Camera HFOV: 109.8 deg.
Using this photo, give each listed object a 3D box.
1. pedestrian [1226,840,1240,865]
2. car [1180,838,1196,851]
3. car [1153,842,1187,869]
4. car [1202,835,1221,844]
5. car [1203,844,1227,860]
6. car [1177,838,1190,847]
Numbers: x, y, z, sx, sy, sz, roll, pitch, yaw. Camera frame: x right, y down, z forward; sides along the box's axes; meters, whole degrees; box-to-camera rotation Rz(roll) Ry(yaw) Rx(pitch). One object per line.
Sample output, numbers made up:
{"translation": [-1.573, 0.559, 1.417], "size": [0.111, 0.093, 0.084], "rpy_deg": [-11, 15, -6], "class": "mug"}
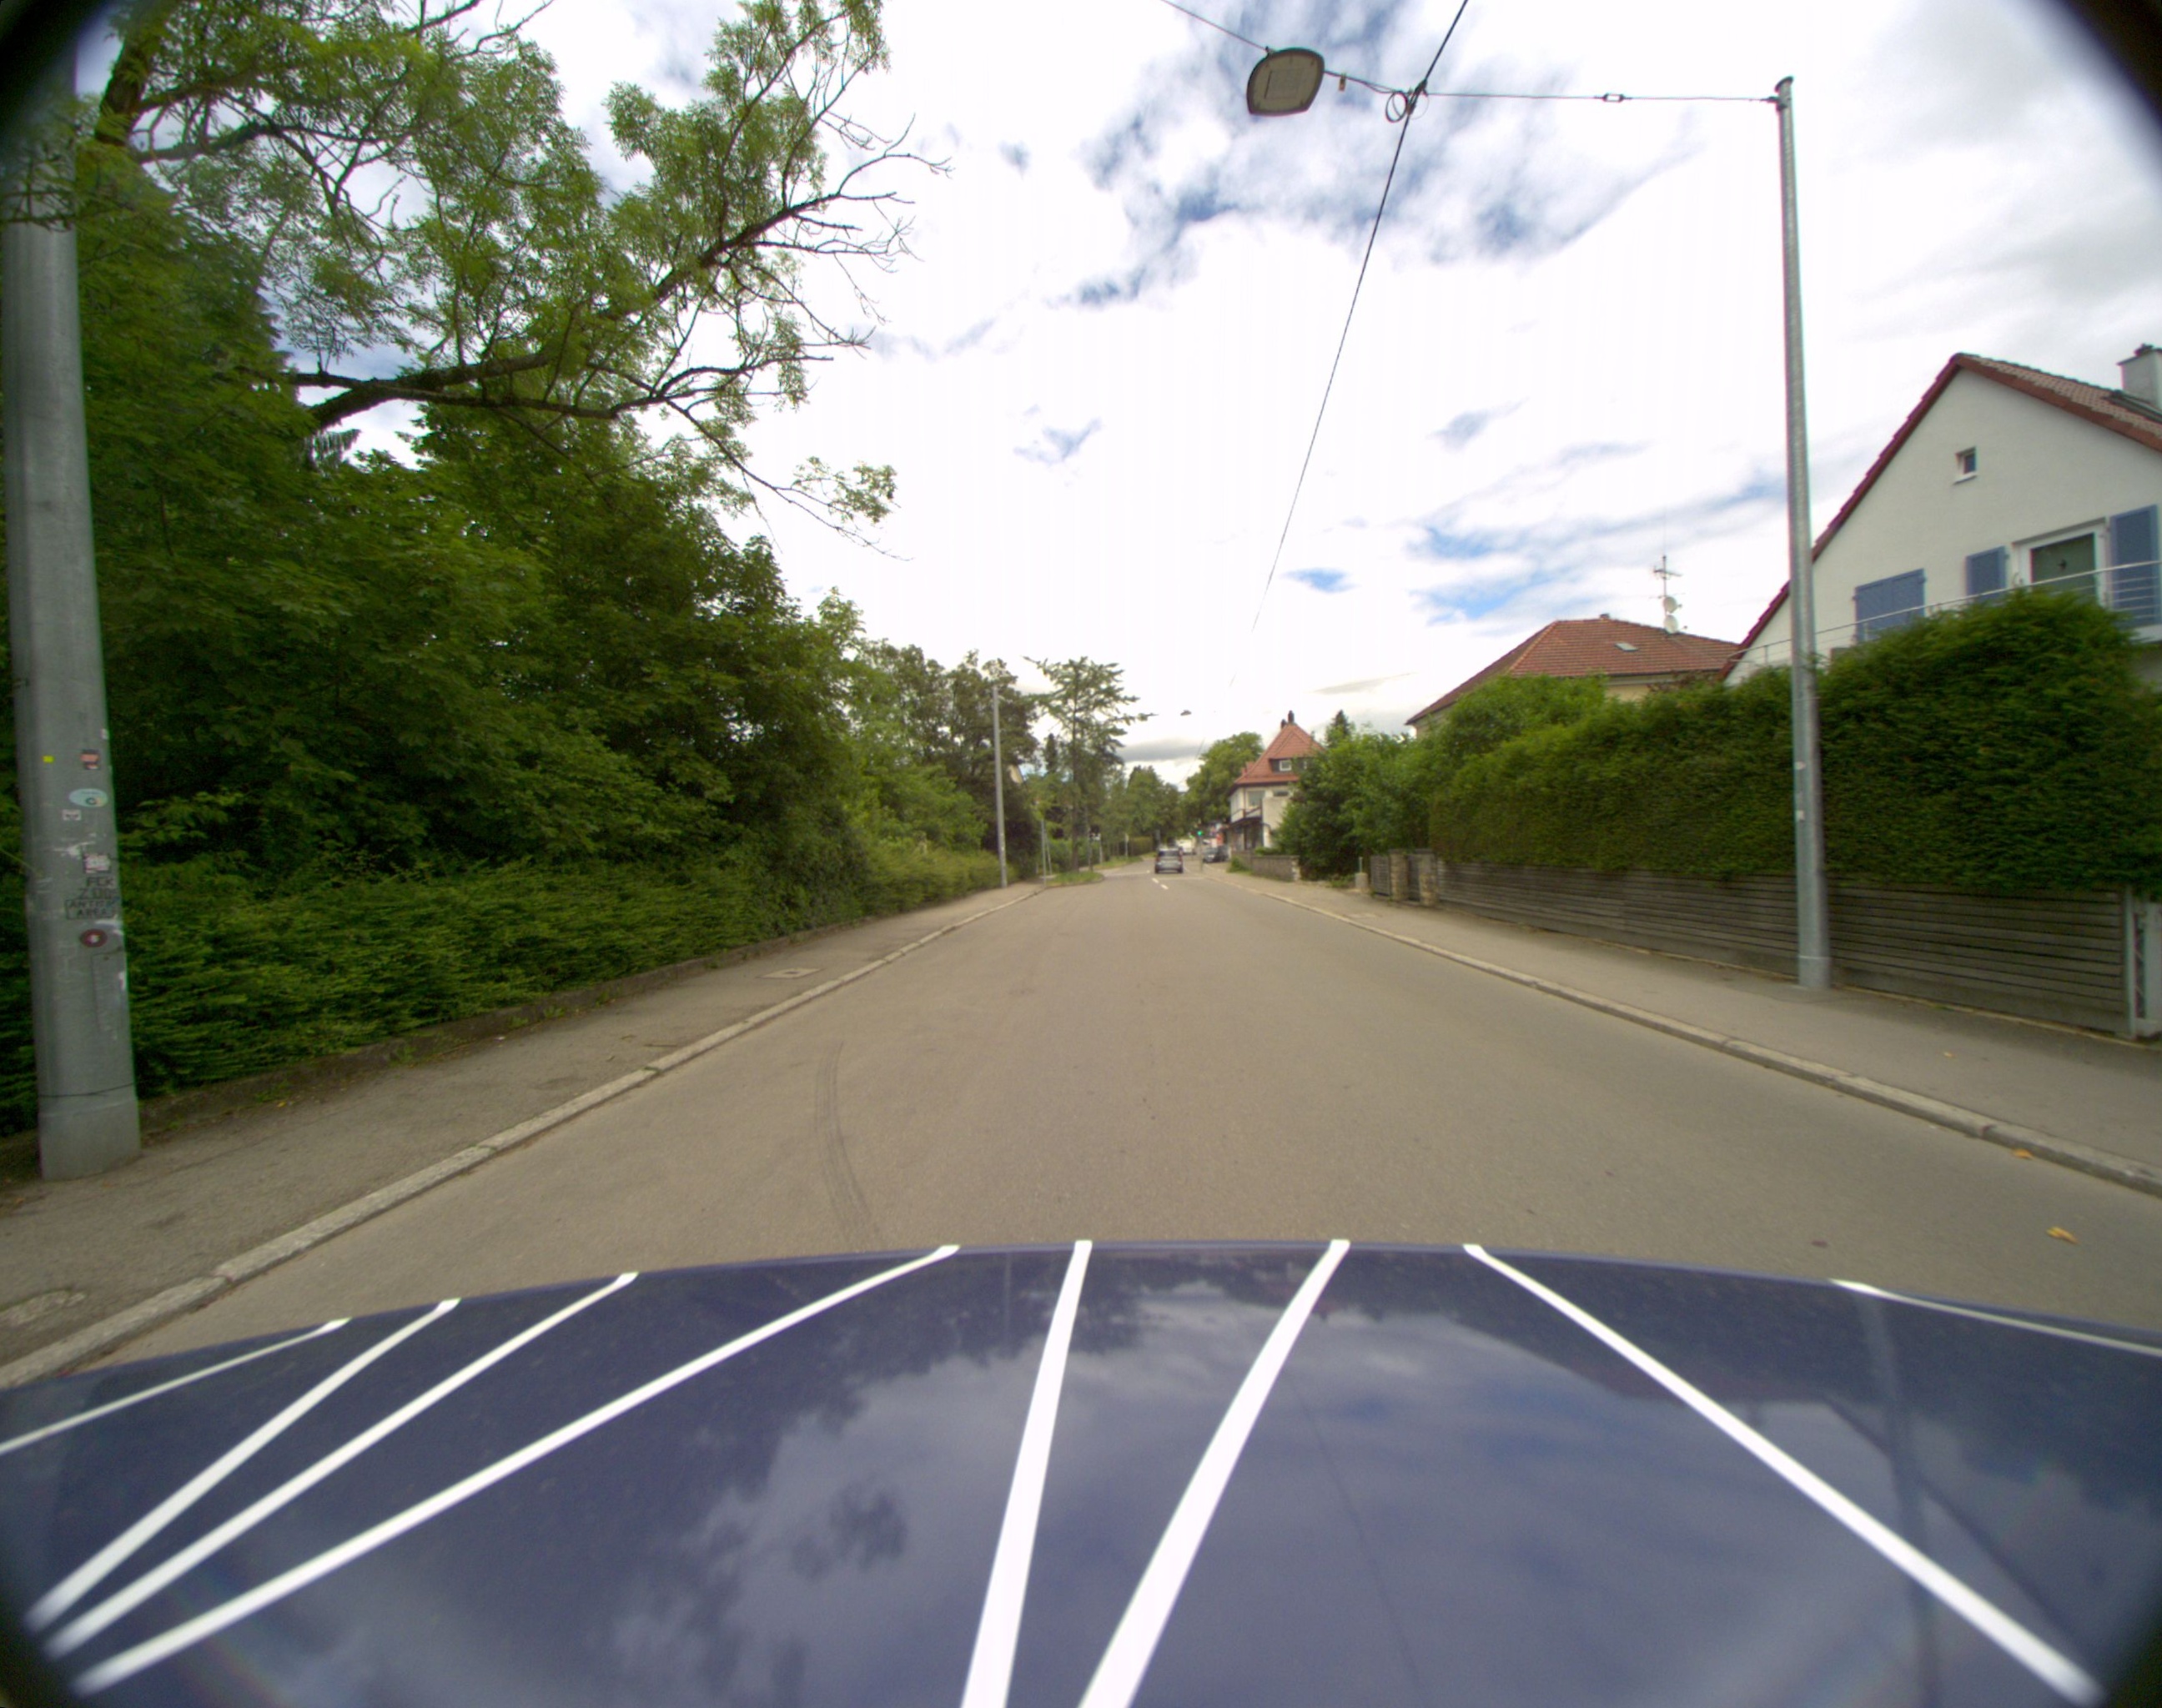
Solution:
{"translation": [10.636, -0.109, 53.261], "size": [0.821, 1.735, 0.604], "rpy_deg": [-4, 1, 5], "class": "pedestrian"}
{"translation": [16.268, -1.473, 115.420], "size": [1.884, 1.905, 4.833], "rpy_deg": [-5, 1, 4], "class": "car"}
{"translation": [5.864, 0.070, 50.556], "size": [1.845, 1.646, 4.138], "rpy_deg": [1, 1, 2], "class": "car"}
{"translation": [29.437, -3.354, 171.182], "size": [3.992, 1.729, 2.002], "rpy_deg": [-4, 1, 17], "class": "car"}
{"translation": [12.767, -0.204, 72.292], "size": [1.821, 1.344, 3.394], "rpy_deg": [-4, 1, 15], "class": "car"}
{"translation": [19.641, -2.197, 145.788], "size": [1.998, 1.687, 4.000], "rpy_deg": [-4, 1, 4], "class": "car"}
